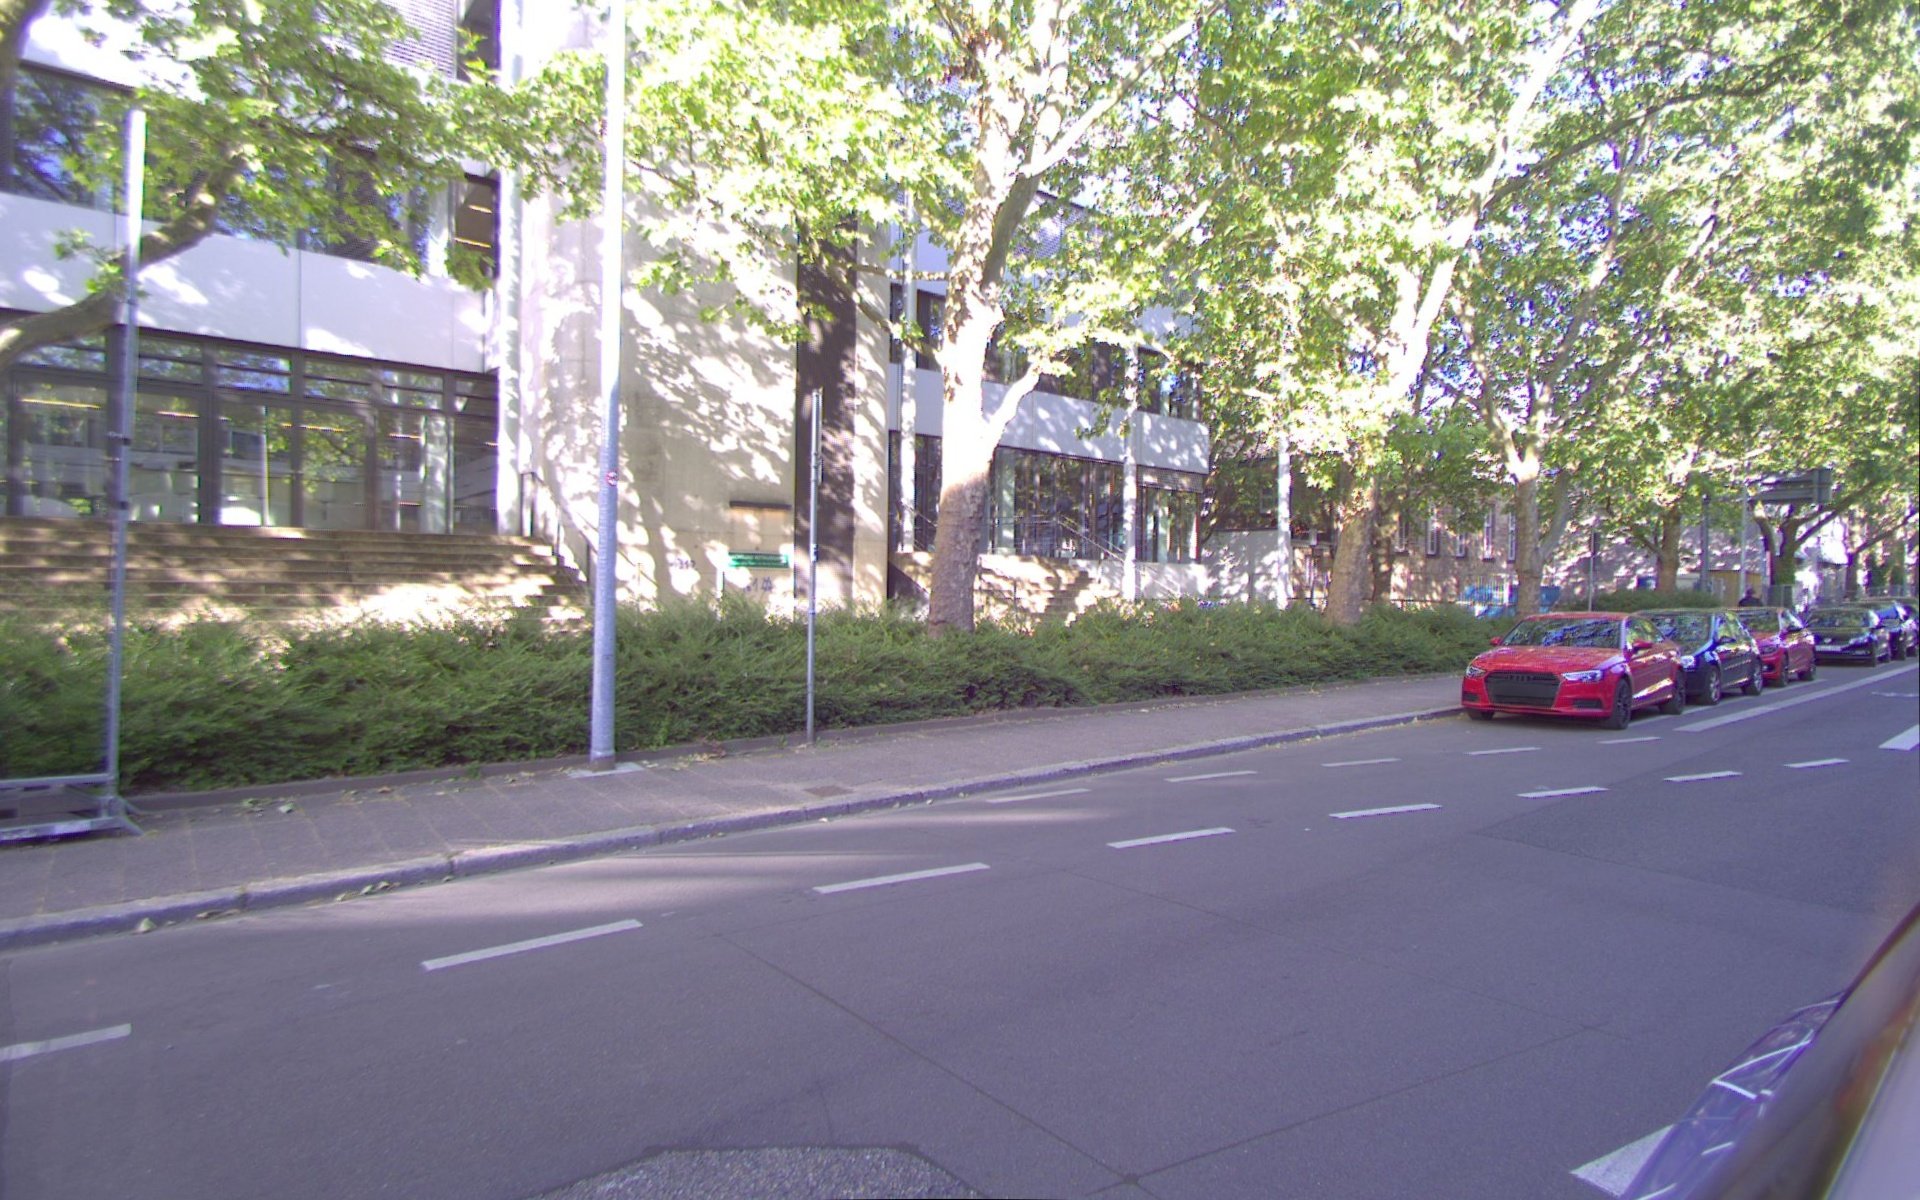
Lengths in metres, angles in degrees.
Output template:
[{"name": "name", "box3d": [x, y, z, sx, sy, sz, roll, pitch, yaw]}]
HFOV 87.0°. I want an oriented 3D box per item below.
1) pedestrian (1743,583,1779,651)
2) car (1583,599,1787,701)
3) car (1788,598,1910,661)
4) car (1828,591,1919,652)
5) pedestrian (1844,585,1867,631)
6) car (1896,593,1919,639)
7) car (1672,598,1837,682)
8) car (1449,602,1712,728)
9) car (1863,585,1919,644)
[{"name": "pedestrian", "box3d": [22.497, 0.465, 28.428, 0.629, 1.884, 0.660, 0, 0, -41]}, {"name": "car", "box3d": [12.022, 0.721, 16.684, 4.095, 1.464, 1.834, 0, 0, -41]}, {"name": "car", "box3d": [22.869, 0.703, 25.991, 4.095, 1.486, 1.834, 0, 0, -41]}, {"name": "car", "box3d": [26.558, 0.573, 29.085, 4.088, 1.626, 1.834, 0, 0, -40]}, {"name": "pedestrian", "box3d": [35.613, 0.301, 40.236, 0.583, 1.818, 0.600, 0, 0, -41]}, {"name": "car", "box3d": [35.906, 0.580, 37.101, 4.183, 1.634, 1.834, 0, 0, -40]}, {"name": "car", "box3d": [15.837, 0.710, 20.099, 4.095, 1.486, 1.834, 0, 0, -41]}, {"name": "car", "box3d": [8.402, 0.739, 13.568, 4.173, 1.422, 1.834, 0, 0, -41]}, {"name": "car", "box3d": [31.043, 0.439, 32.975, 4.384, 1.820, 1.834, 0, 0, -40]}]
